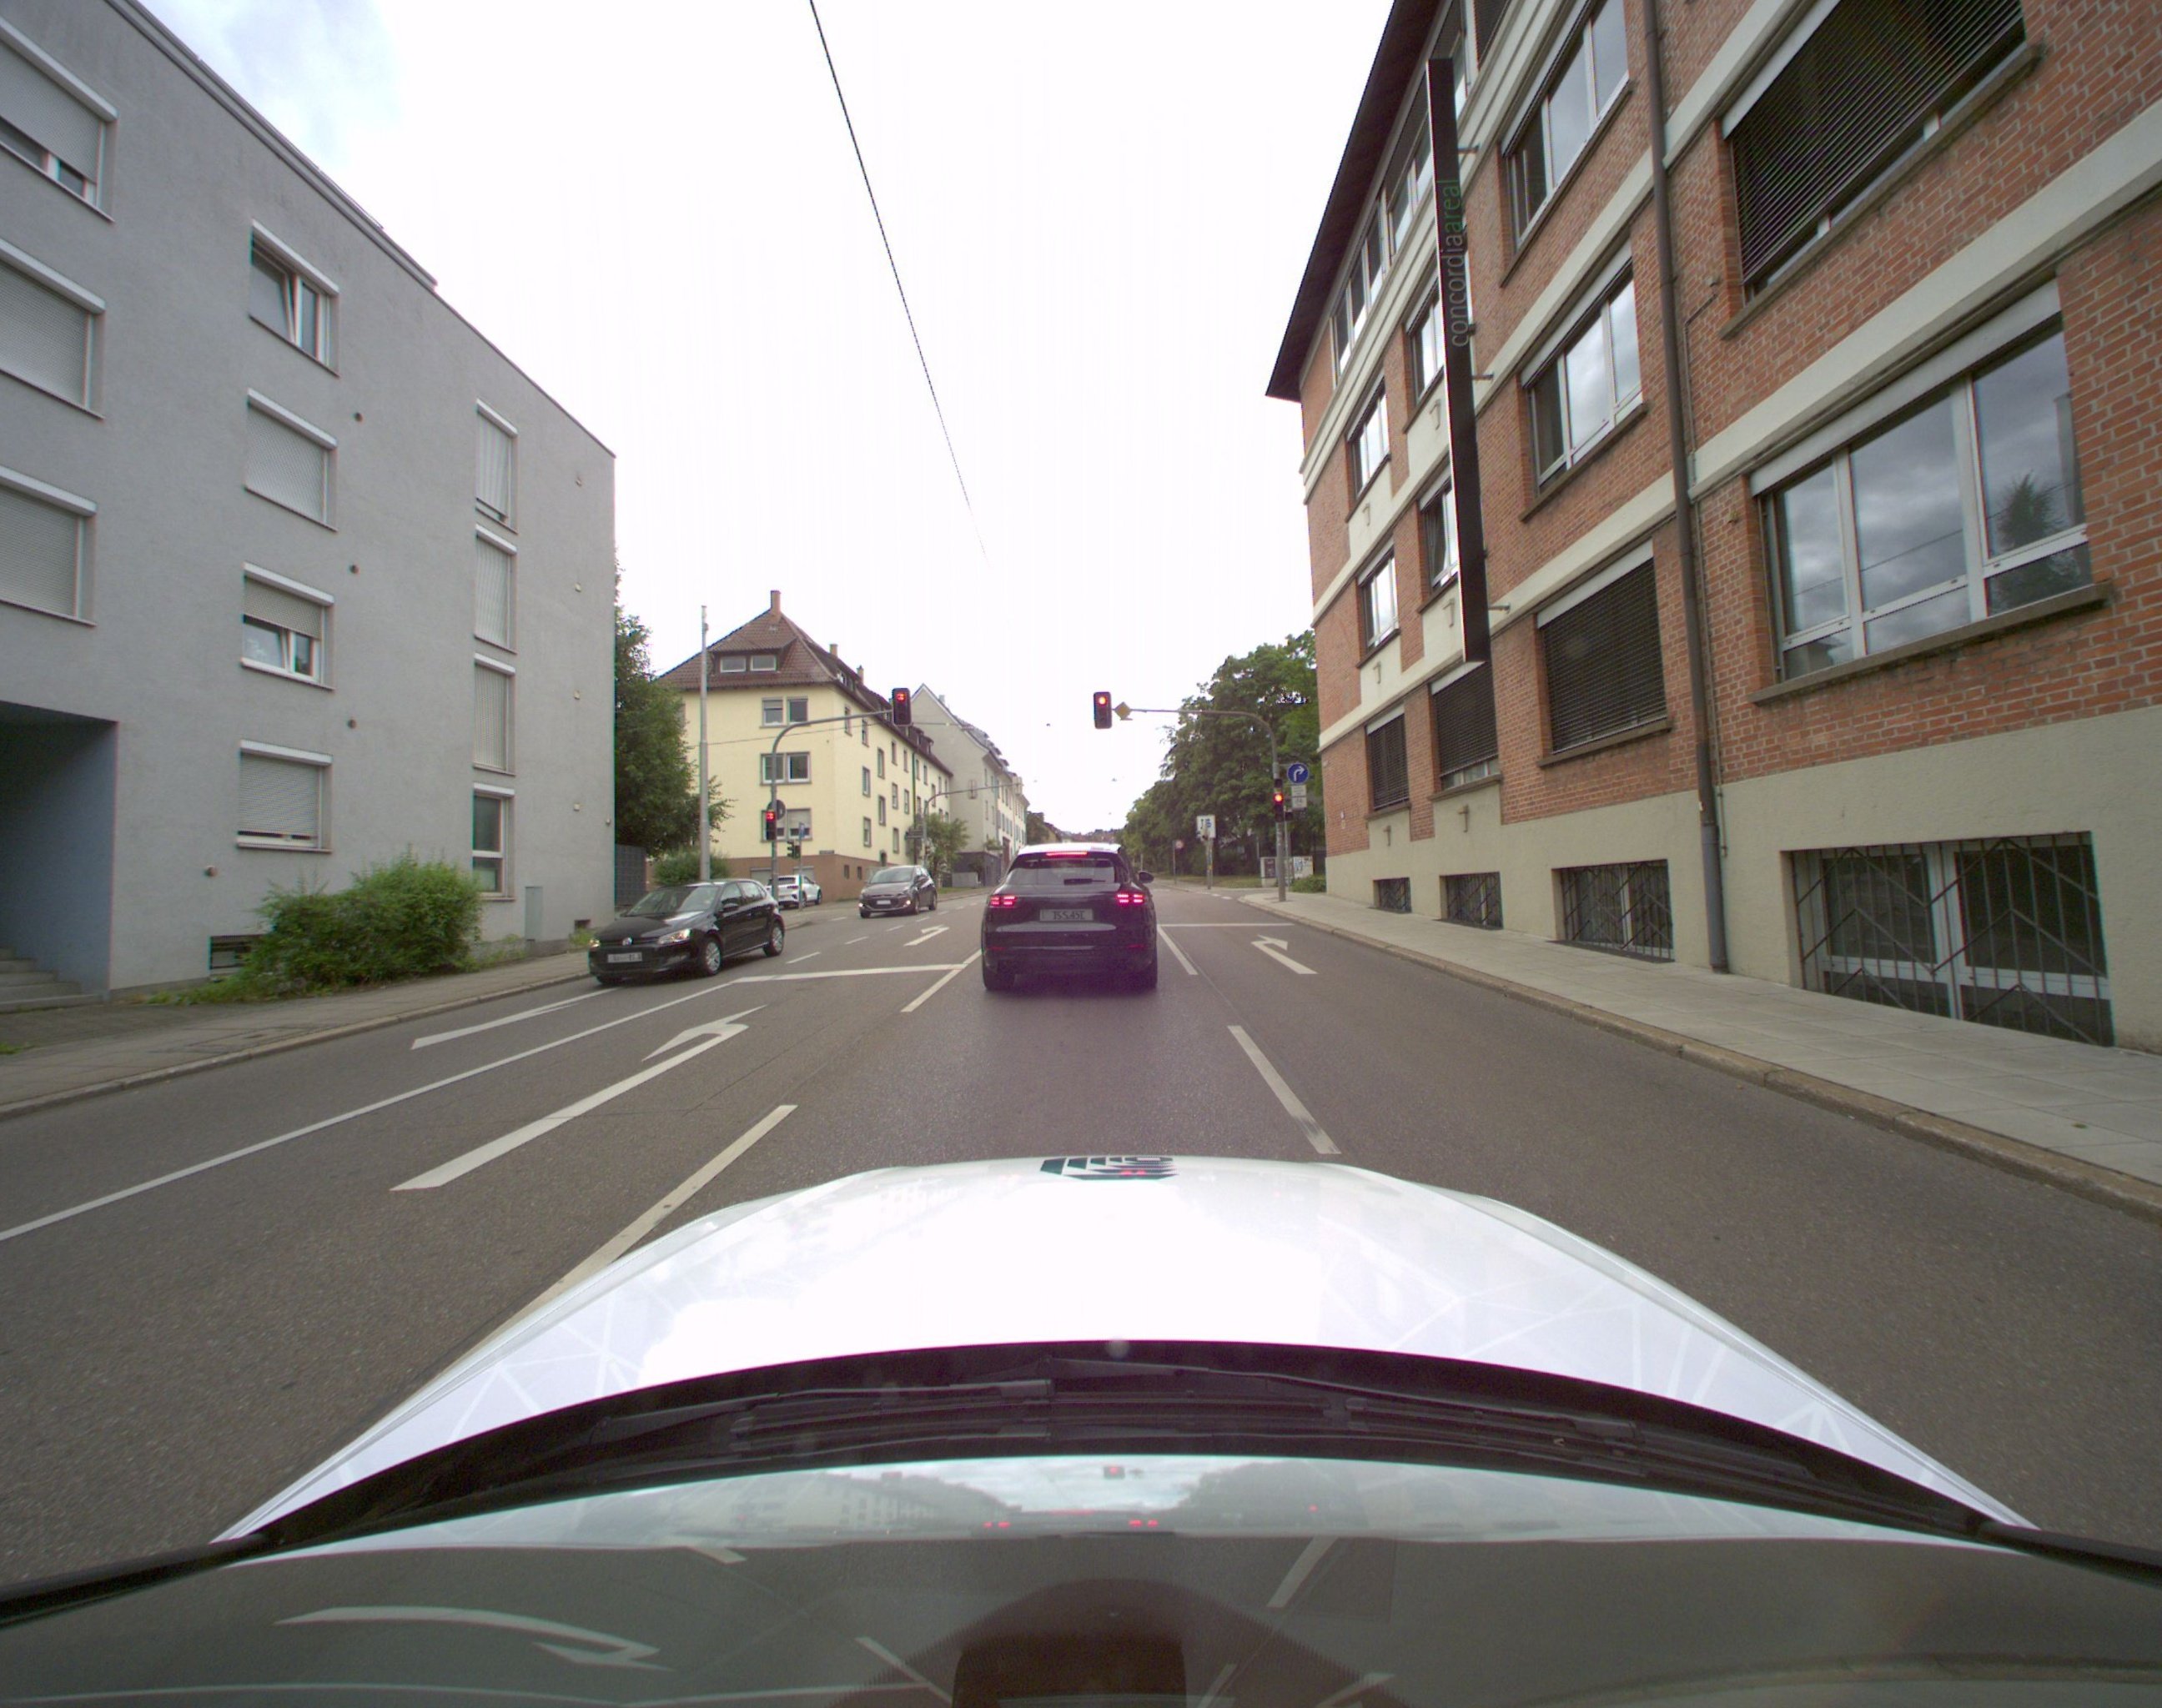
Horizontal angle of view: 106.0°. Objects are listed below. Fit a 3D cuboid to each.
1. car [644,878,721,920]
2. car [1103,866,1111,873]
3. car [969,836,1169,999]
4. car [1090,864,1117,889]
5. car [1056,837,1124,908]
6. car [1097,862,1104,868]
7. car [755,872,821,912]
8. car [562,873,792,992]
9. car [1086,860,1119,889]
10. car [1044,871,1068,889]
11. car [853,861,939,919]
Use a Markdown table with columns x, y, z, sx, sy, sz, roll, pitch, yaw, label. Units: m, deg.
| x | y | z | sx | sy | sz | roll | pitch | yaw | label |
| --- | --- | --- | --- | --- | --- | --- | --- | --- | --- |
| -18.374 | 2.034 | 37.741 | 1.686 | 1.608 | 3.763 | -4 | 0 | -2 | car |
| 5.949 | 3.523 | 186.208 | 1.820 | 1.605 | 4.137 | -1 | 0 | 2 | car |
| -0.047 | 0.653 | 10.506 | 2.040 | 1.666 | 4.269 | -1 | 0 | 2 | car |
| 1.571 | 1.522 | 56.307 | 1.820 | 1.605 | 3.861 | -1 | 0 | 2 | car |
| 0.334 | 0.535 | 25.688 | 1.957 | 2.042 | 4.137 | -1 | 0 | 2 | car |
| 5.150 | 2.834 | 214.049 | 1.820 | 1.605 | 4.137 | -1 | 0 | 2 | car |
| -13.458 | 1.712 | 37.638 | 1.686 | 1.555 | 3.763 | -4 | 0 | -2 | car |
| -6.210 | 1.118 | 13.056 | 1.667 | 1.400 | 3.794 | -4 | 0 | 1 | car |
| 1.284 | 1.160 | 47.596 | 1.820 | 1.605 | 4.137 | -1 | 0 | 2 | car |
| -2.197 | 2.315 | 73.148 | 1.778 | 1.418 | 4.672 | -4 | -1 | 2 | car |
| -5.886 | 1.100 | 26.400 | 1.698 | 1.587 | 3.937 | -4 | 0 | 1 | car |
